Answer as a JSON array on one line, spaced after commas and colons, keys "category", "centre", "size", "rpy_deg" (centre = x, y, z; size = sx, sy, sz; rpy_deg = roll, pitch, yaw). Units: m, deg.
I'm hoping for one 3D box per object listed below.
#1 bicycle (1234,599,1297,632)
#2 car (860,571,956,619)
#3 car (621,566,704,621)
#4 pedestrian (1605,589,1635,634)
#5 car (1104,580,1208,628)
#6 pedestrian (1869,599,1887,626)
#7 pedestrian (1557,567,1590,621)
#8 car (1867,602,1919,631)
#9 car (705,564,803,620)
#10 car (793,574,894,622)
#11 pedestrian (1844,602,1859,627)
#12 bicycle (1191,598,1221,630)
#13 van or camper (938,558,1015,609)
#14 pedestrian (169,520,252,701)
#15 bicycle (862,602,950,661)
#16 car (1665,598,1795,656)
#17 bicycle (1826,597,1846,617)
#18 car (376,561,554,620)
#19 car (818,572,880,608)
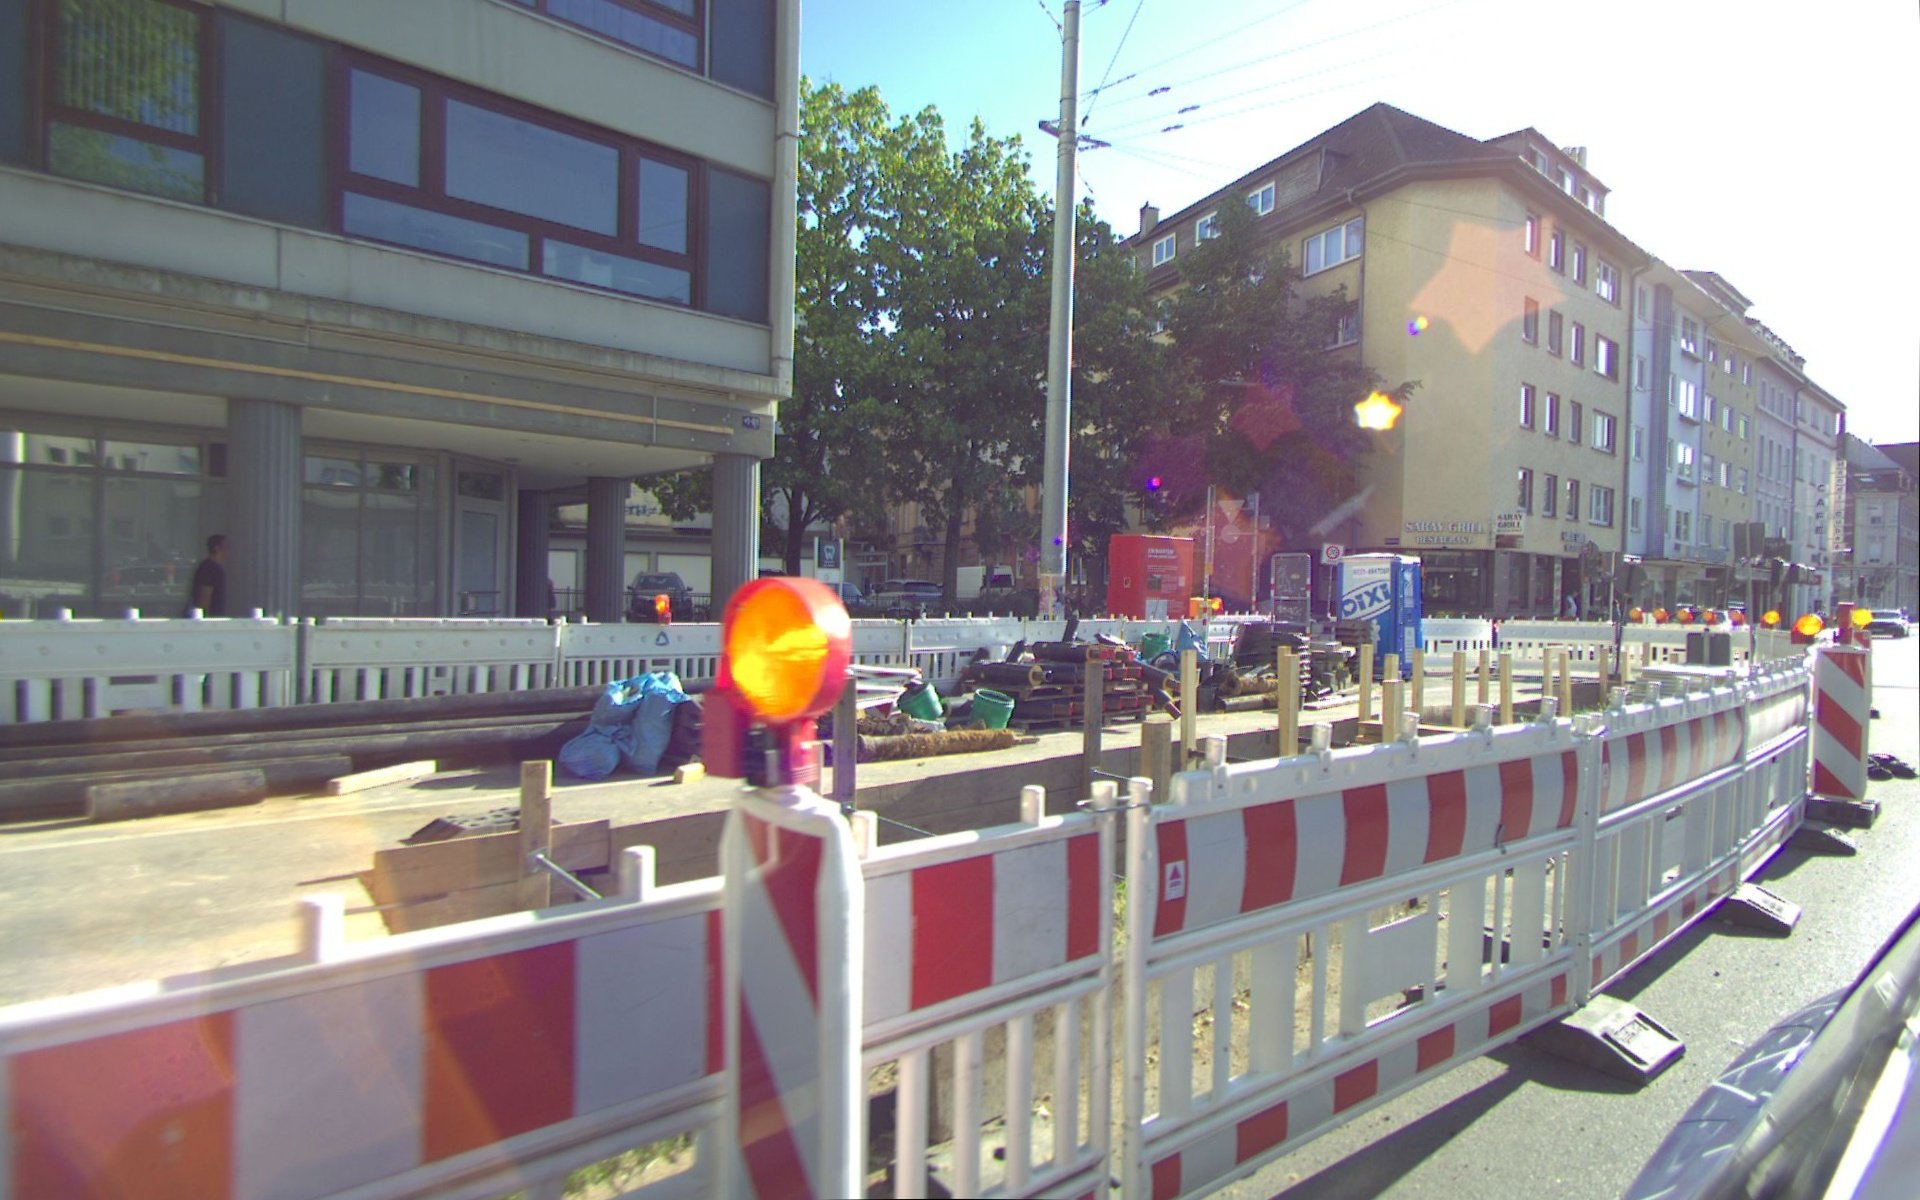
[{"category": "bicycle", "centre": [9.886, 0.503, 32.768], "size": [1.904, 1.017, 0.370], "rpy_deg": [2, 0, -4]}, {"category": "car", "centre": [-1.852, -0.207, 34.358], "size": [1.949, 1.504, 4.387], "rpy_deg": [1, 1, -21]}, {"category": "car", "centre": [-9.078, -0.226, 30.654], "size": [1.802, 1.542, 4.505], "rpy_deg": [1, 1, -24]}, {"category": "pedestrian", "centre": [22.903, 0.393, 35.120], "size": [0.640, 1.525, 0.672], "rpy_deg": [0, 1, -40]}, {"category": "car", "centre": [7.388, 0.111, 38.595], "size": [1.958, 1.662, 4.258], "rpy_deg": [2, 1, -19]}, {"category": "pedestrian", "centre": [60.944, 0.837, 67.184], "size": [0.785, 1.712, 0.775], "rpy_deg": [3, -2, -41]}, {"category": "pedestrian", "centre": [21.802, -0.208, 35.965], "size": [0.884, 1.877, 0.730], "rpy_deg": [1, 1, -38]}, {"category": "car", "centre": [49.244, 0.846, 53.205], "size": [4.636, 1.448, 1.902], "rpy_deg": [0, 0, -42]}, {"category": "car", "centre": [-6.515, -0.267, 31.639], "size": [2.110, 1.625, 4.241], "rpy_deg": [1, 1, -24]}, {"category": "car", "centre": [-3.867, -0.106, 32.809], "size": [2.049, 1.436, 4.288], "rpy_deg": [1, 1, -24]}, {"category": "pedestrian", "centre": [60.242, 0.972, 68.392], "size": [0.665, 1.711, 0.663], "rpy_deg": [0, 1, -41]}, {"category": "bicycle", "centre": [8.571, 0.474, 35.214], "size": [0.367, 1.096, 1.803], "rpy_deg": [1, 1, 35]}, {"category": "van or camper", "centre": [0.805, -0.892, 53.957], "size": [2.055, 2.580, 5.365], "rpy_deg": [1, 1, -23]}, {"category": "pedestrian", "centre": [-7.951, 0.097, 10.730], "size": [0.654, 1.838, 0.691], "rpy_deg": [1, 1, -41]}, {"category": "bicycle", "centre": [-0.999, 0.537, 18.070], "size": [0.996, 0.955, 2.039], "rpy_deg": [1, 1, -21]}, {"category": "car", "centre": [22.063, 0.706, 28.928], "size": [5.067, 1.461, 1.876], "rpy_deg": [0, 1, -40]}, {"category": "bicycle", "centre": [52.510, 0.401, 60.686], "size": [0.692, 1.122, 1.842], "rpy_deg": [1, 1, 35]}, {"category": "car", "centre": [-14.914, -0.304, 30.608], "size": [4.420, 1.657, 2.151], "rpy_deg": [0, 1, -43]}, {"category": "car", "centre": [-6.082, -0.572, 54.959], "size": [1.959, 1.845, 4.256], "rpy_deg": [2, 1, -26]}]
